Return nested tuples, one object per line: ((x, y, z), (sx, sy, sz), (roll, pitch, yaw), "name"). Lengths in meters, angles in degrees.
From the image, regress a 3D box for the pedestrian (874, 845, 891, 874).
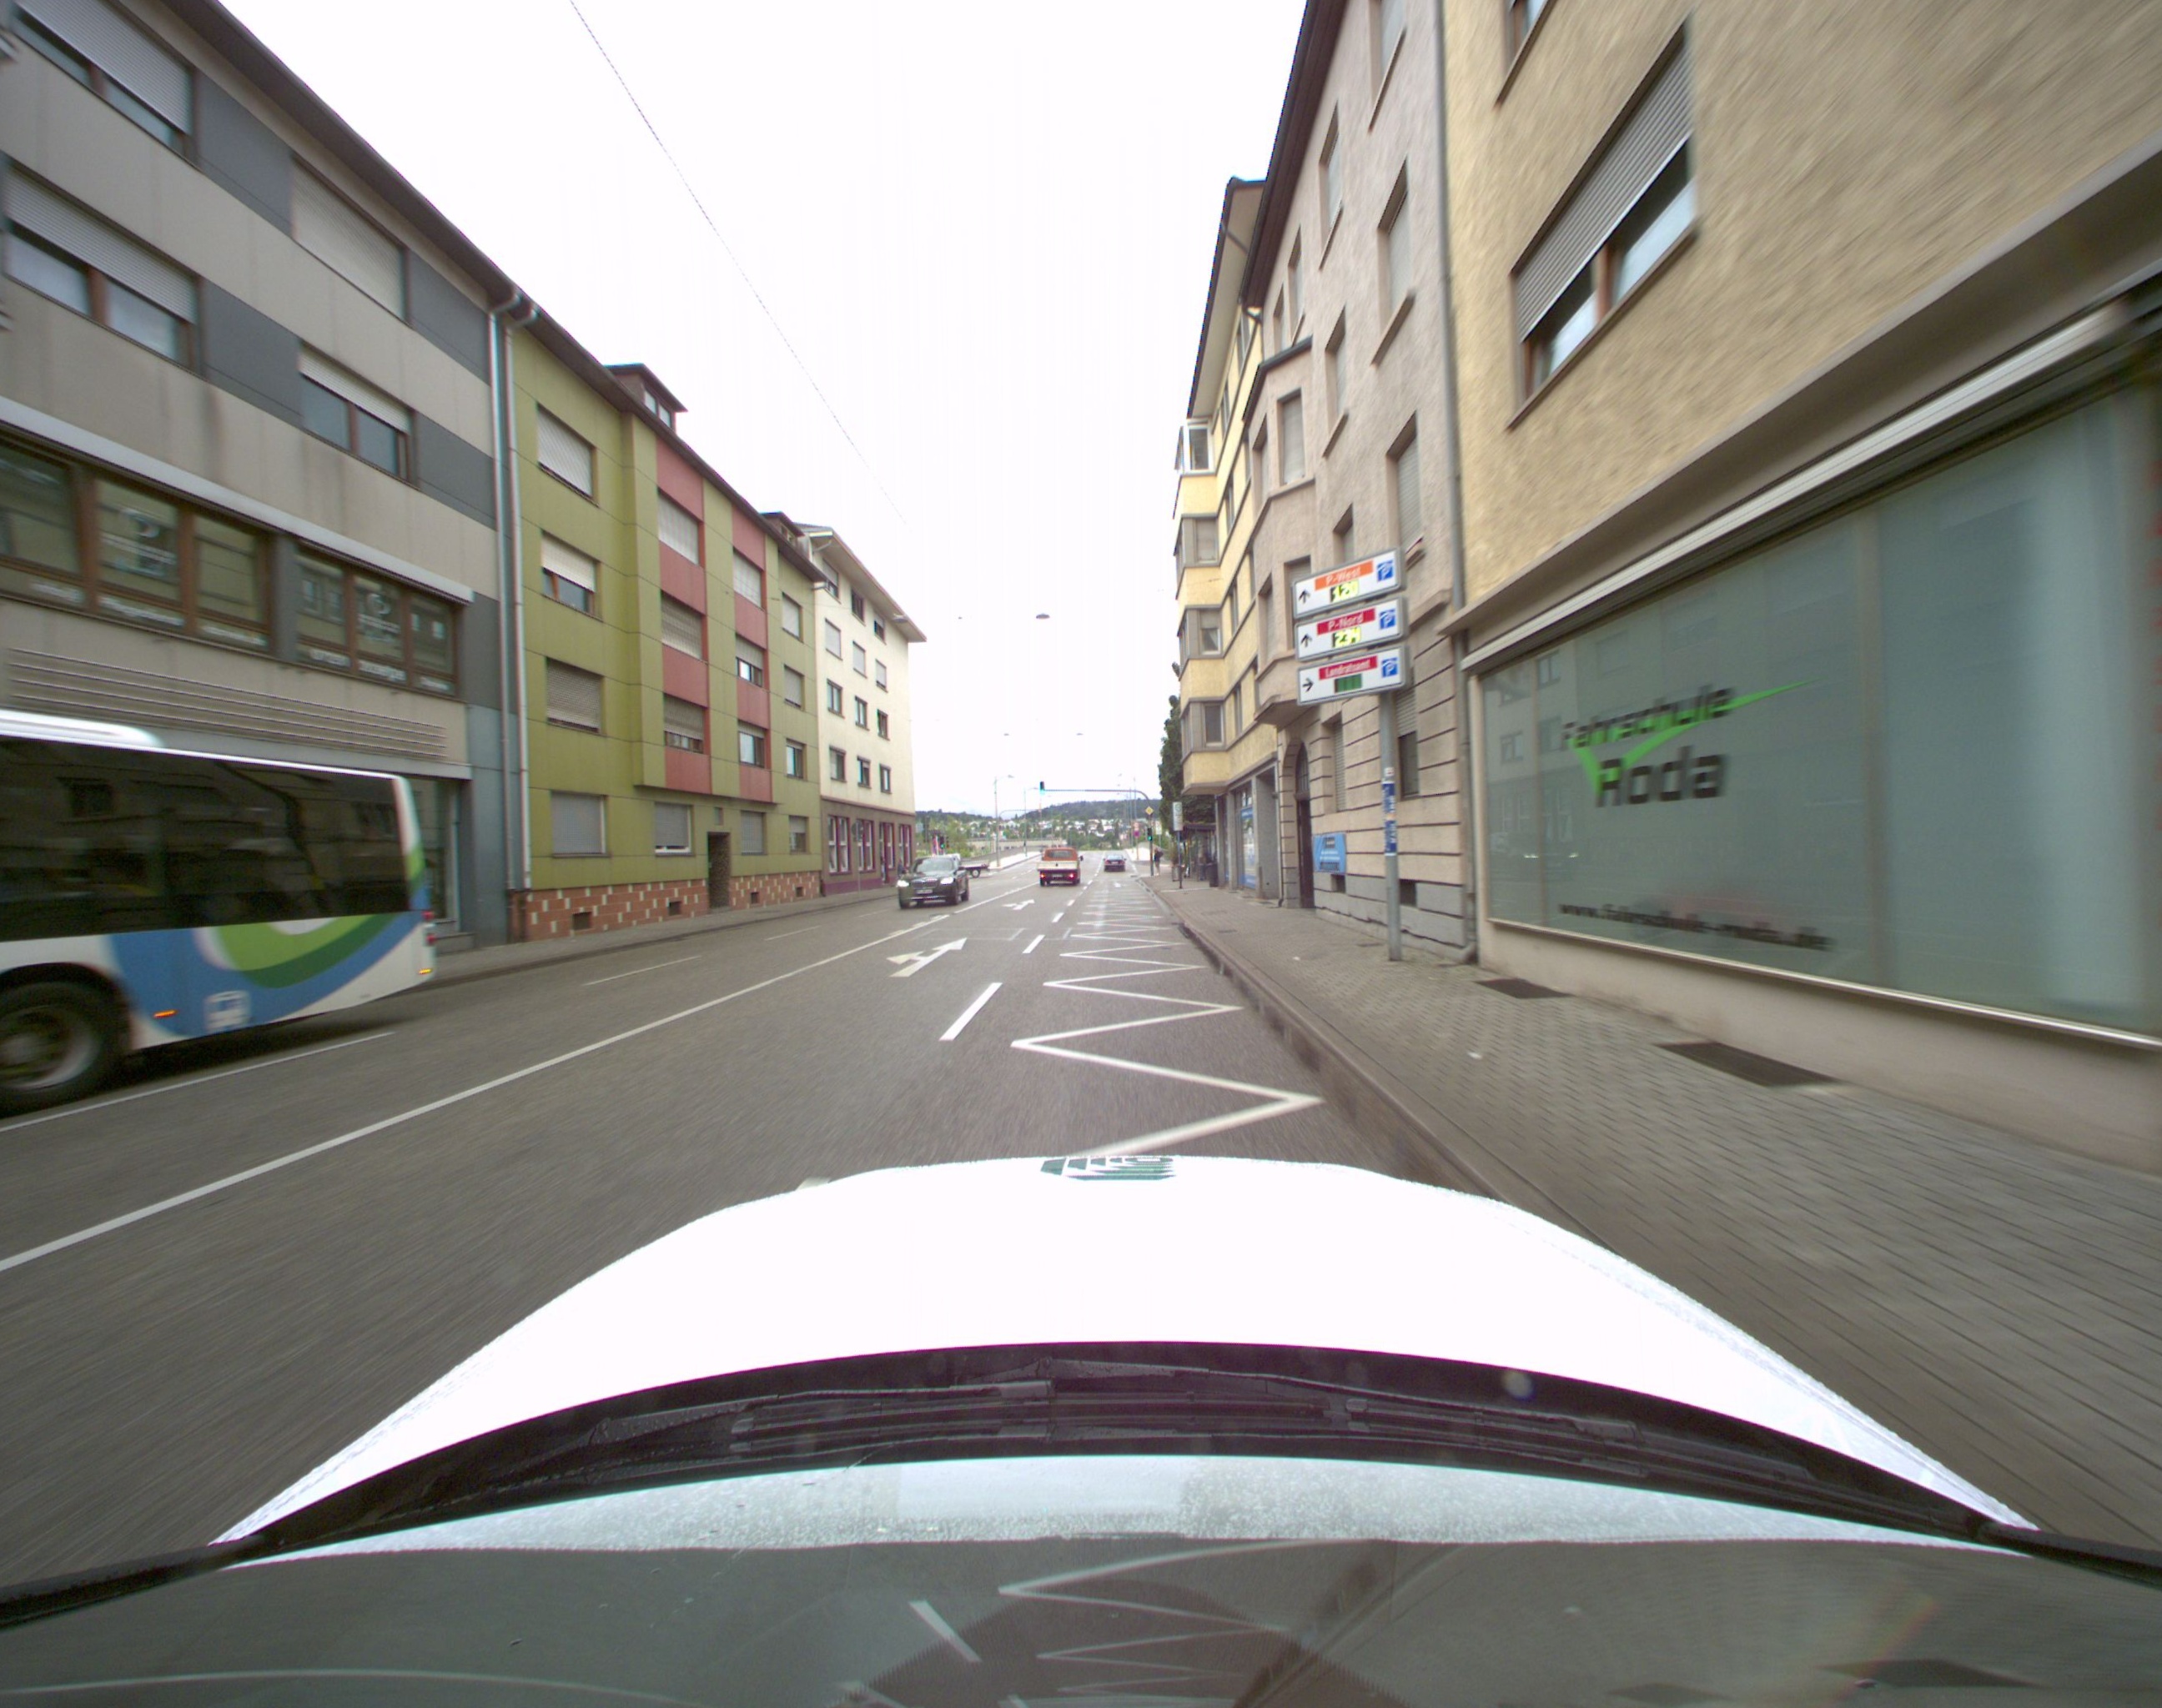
((-11.230, 0.299, 46.035), (0.770, 1.577, 0.589), (-2, -1, 1), "pedestrian")

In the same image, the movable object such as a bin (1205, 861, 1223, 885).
((5.188, 0.733, 31.794), (0.598, 0.926, 0.705), (-2, -1, 2), "movable object such as a bin")

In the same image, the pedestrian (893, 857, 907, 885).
((-10.211, 0.950, 45.931), (0.573, 1.553, 0.739), (-2, -1, -1), "pedestrian")

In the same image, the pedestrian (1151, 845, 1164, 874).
((4.899, 0.338, 52.030), (0.730, 1.841, 0.631), (-2, -1, 0), "pedestrian")

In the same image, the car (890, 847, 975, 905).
((-4.965, 0.709, 27.872), (1.924, 1.757, 4.573), (-2, -1, 1), "car")

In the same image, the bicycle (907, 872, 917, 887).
((-9.225, 1.402, 44.503), (0.263, 0.783, 1.112), (-2, -1, 2), "bicycle")

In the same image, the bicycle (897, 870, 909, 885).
((-9.645, 1.286, 44.191), (0.263, 0.783, 1.422), (-2, -1, 2), "bicycle")

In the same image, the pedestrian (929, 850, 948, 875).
((-12.187, 0.730, 69.525), (0.973, 2.014, 1.181), (-3, -1, 43), "pedestrian")

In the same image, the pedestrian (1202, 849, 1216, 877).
((6.419, 0.450, 40.938), (0.562, 1.396, 0.514), (-2, -1, -1), "pedestrian")

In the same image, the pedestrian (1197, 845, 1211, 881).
((5.994, 0.430, 39.721), (0.616, 1.699, 0.657), (-2, -1, 6), "pedestrian")

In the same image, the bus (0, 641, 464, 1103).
((-8.829, 0.162, 4.934), (2.715, 3.188, 9.297), (-2, -1, 2), "bus")

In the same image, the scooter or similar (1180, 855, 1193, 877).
((5.782, 0.659, 44.595), (0.509, 1.172, 1.550), (-2, -1, 2), "scooter or similar")

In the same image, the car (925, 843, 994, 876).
((-9.455, 0.435, 63.727), (4.976, 2.350, 2.000), (-2, -1, 0), "car")

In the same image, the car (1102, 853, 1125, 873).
((2.628, 0.704, 65.832), (1.747, 1.479, 4.002), (-2, -1, 2), "car")

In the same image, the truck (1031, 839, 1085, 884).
((-1.122, 0.390, 42.779), (2.390, 2.129, 5.317), (-2, -1, 2), "truck")
